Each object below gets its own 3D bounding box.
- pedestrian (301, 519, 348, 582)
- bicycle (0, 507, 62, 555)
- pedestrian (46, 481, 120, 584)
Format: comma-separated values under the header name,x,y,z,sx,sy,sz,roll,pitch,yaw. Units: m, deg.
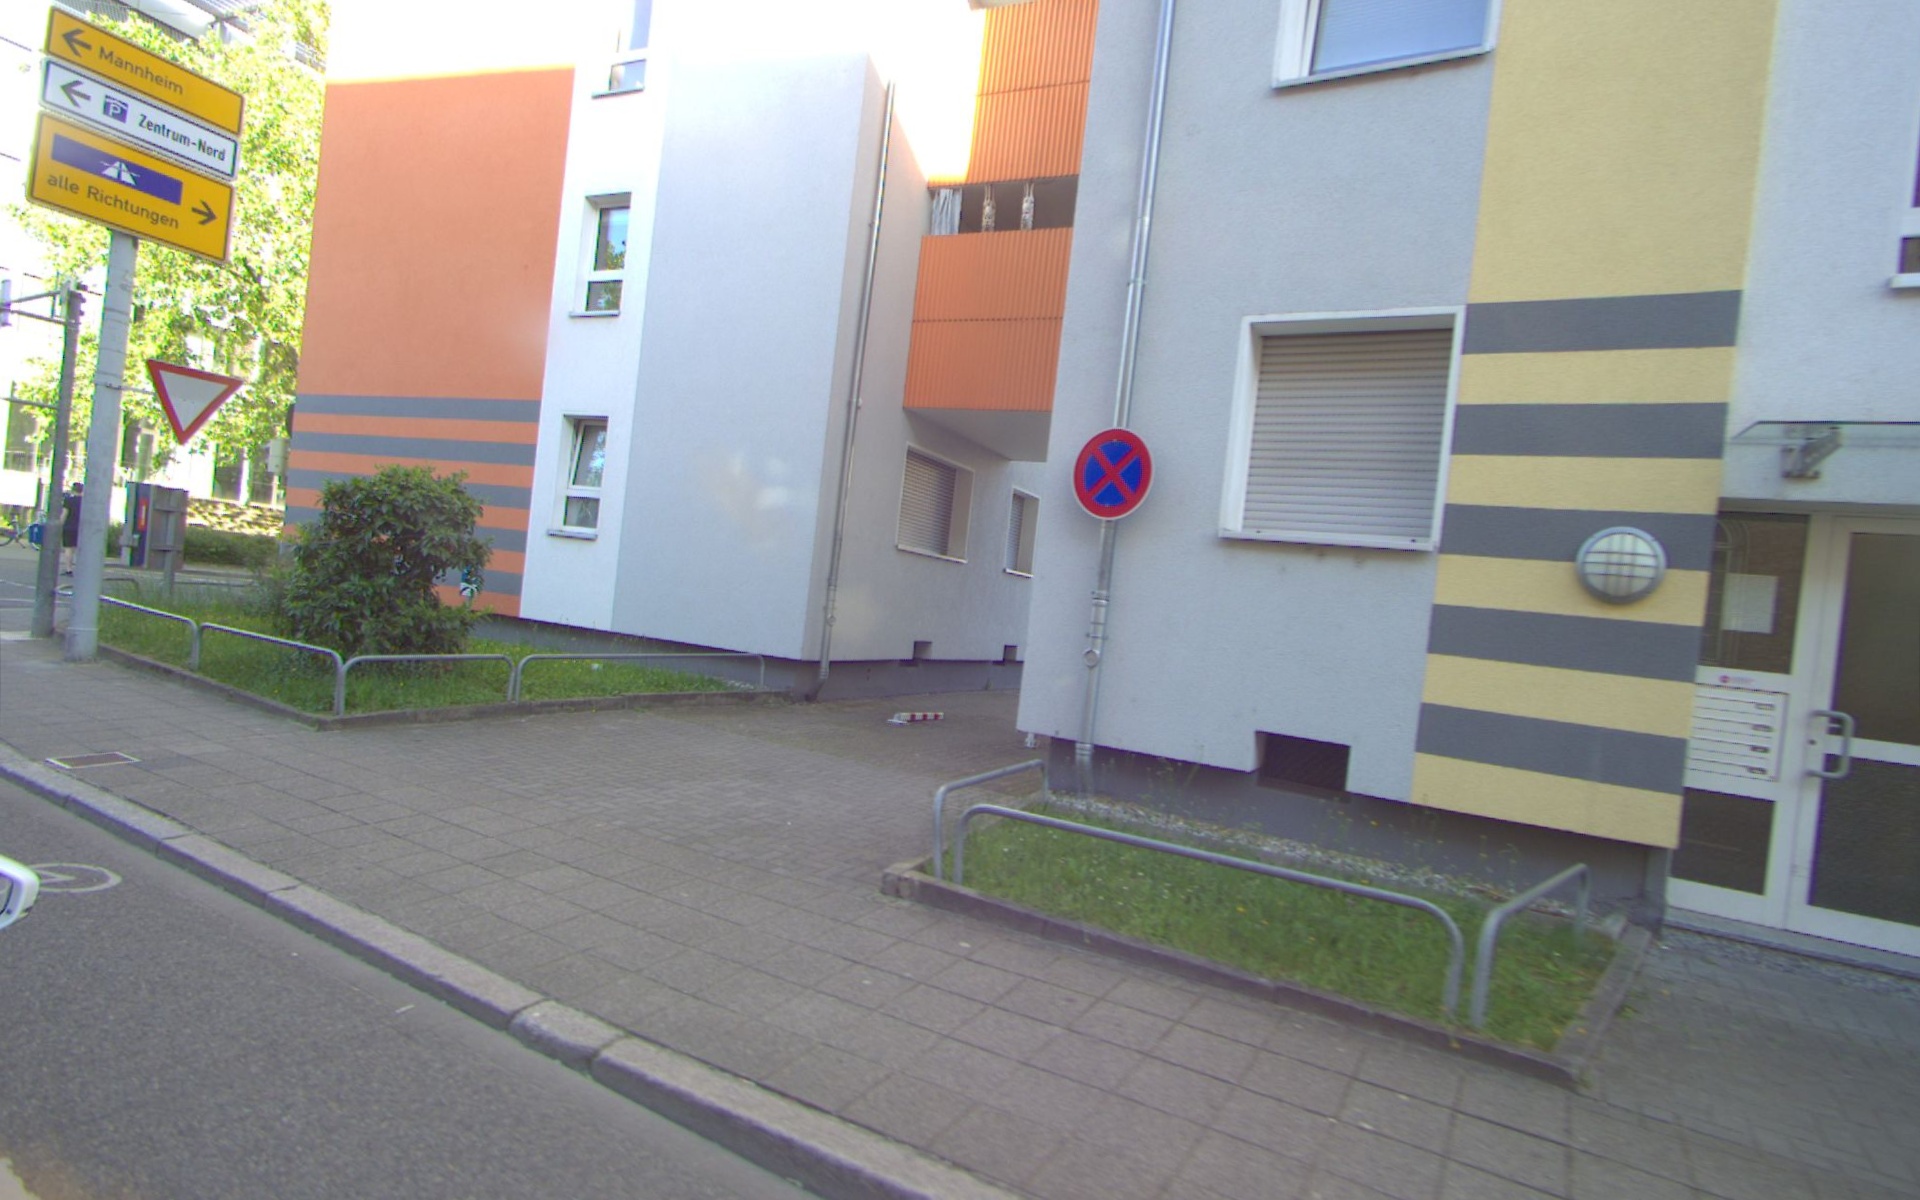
name,x,y,z,sx,sy,sz,roll,pitch,yaw
pedestrian,-20.229,-1.570,32.026,0.696,1.861,0.837,7,-1,22
bicycle,-25.159,-1.863,26.925,1.657,1.063,0.508,9,2,-3
pedestrian,-17.079,-1.312,19.590,0.823,1.861,0.708,7,-1,32
